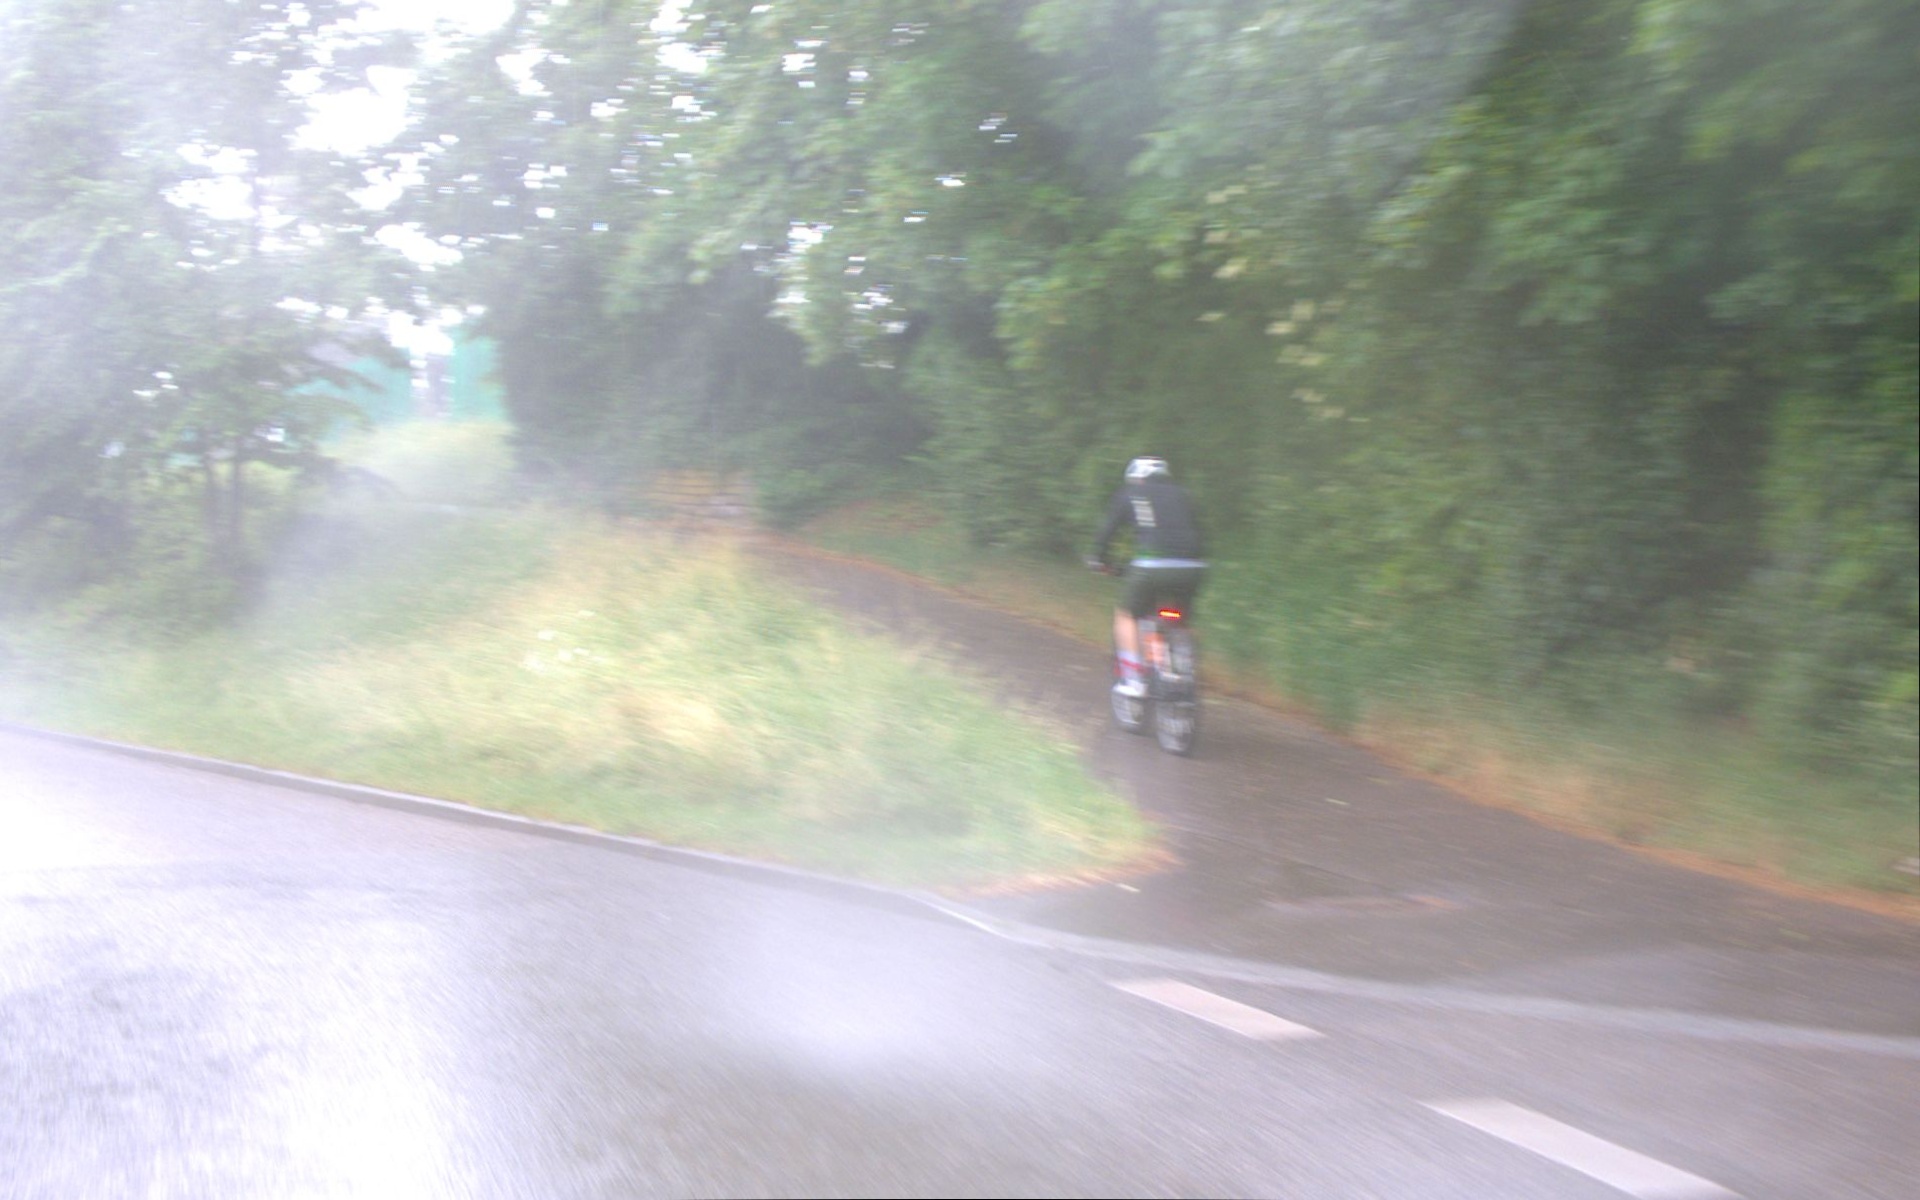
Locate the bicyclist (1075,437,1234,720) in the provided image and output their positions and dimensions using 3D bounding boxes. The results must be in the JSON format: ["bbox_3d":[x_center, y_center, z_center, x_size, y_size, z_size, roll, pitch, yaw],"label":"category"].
[{"bbox_3d":[1.151,-0.141,20.543,0.720,1.609,0.906,1,5,-10],"label":"bicyclist"}]

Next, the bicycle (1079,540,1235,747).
[{"bbox_3d":[1.156,0.238,20.492,0.527,1.081,1.621,0,5,-11],"label":"bicycle"}]
